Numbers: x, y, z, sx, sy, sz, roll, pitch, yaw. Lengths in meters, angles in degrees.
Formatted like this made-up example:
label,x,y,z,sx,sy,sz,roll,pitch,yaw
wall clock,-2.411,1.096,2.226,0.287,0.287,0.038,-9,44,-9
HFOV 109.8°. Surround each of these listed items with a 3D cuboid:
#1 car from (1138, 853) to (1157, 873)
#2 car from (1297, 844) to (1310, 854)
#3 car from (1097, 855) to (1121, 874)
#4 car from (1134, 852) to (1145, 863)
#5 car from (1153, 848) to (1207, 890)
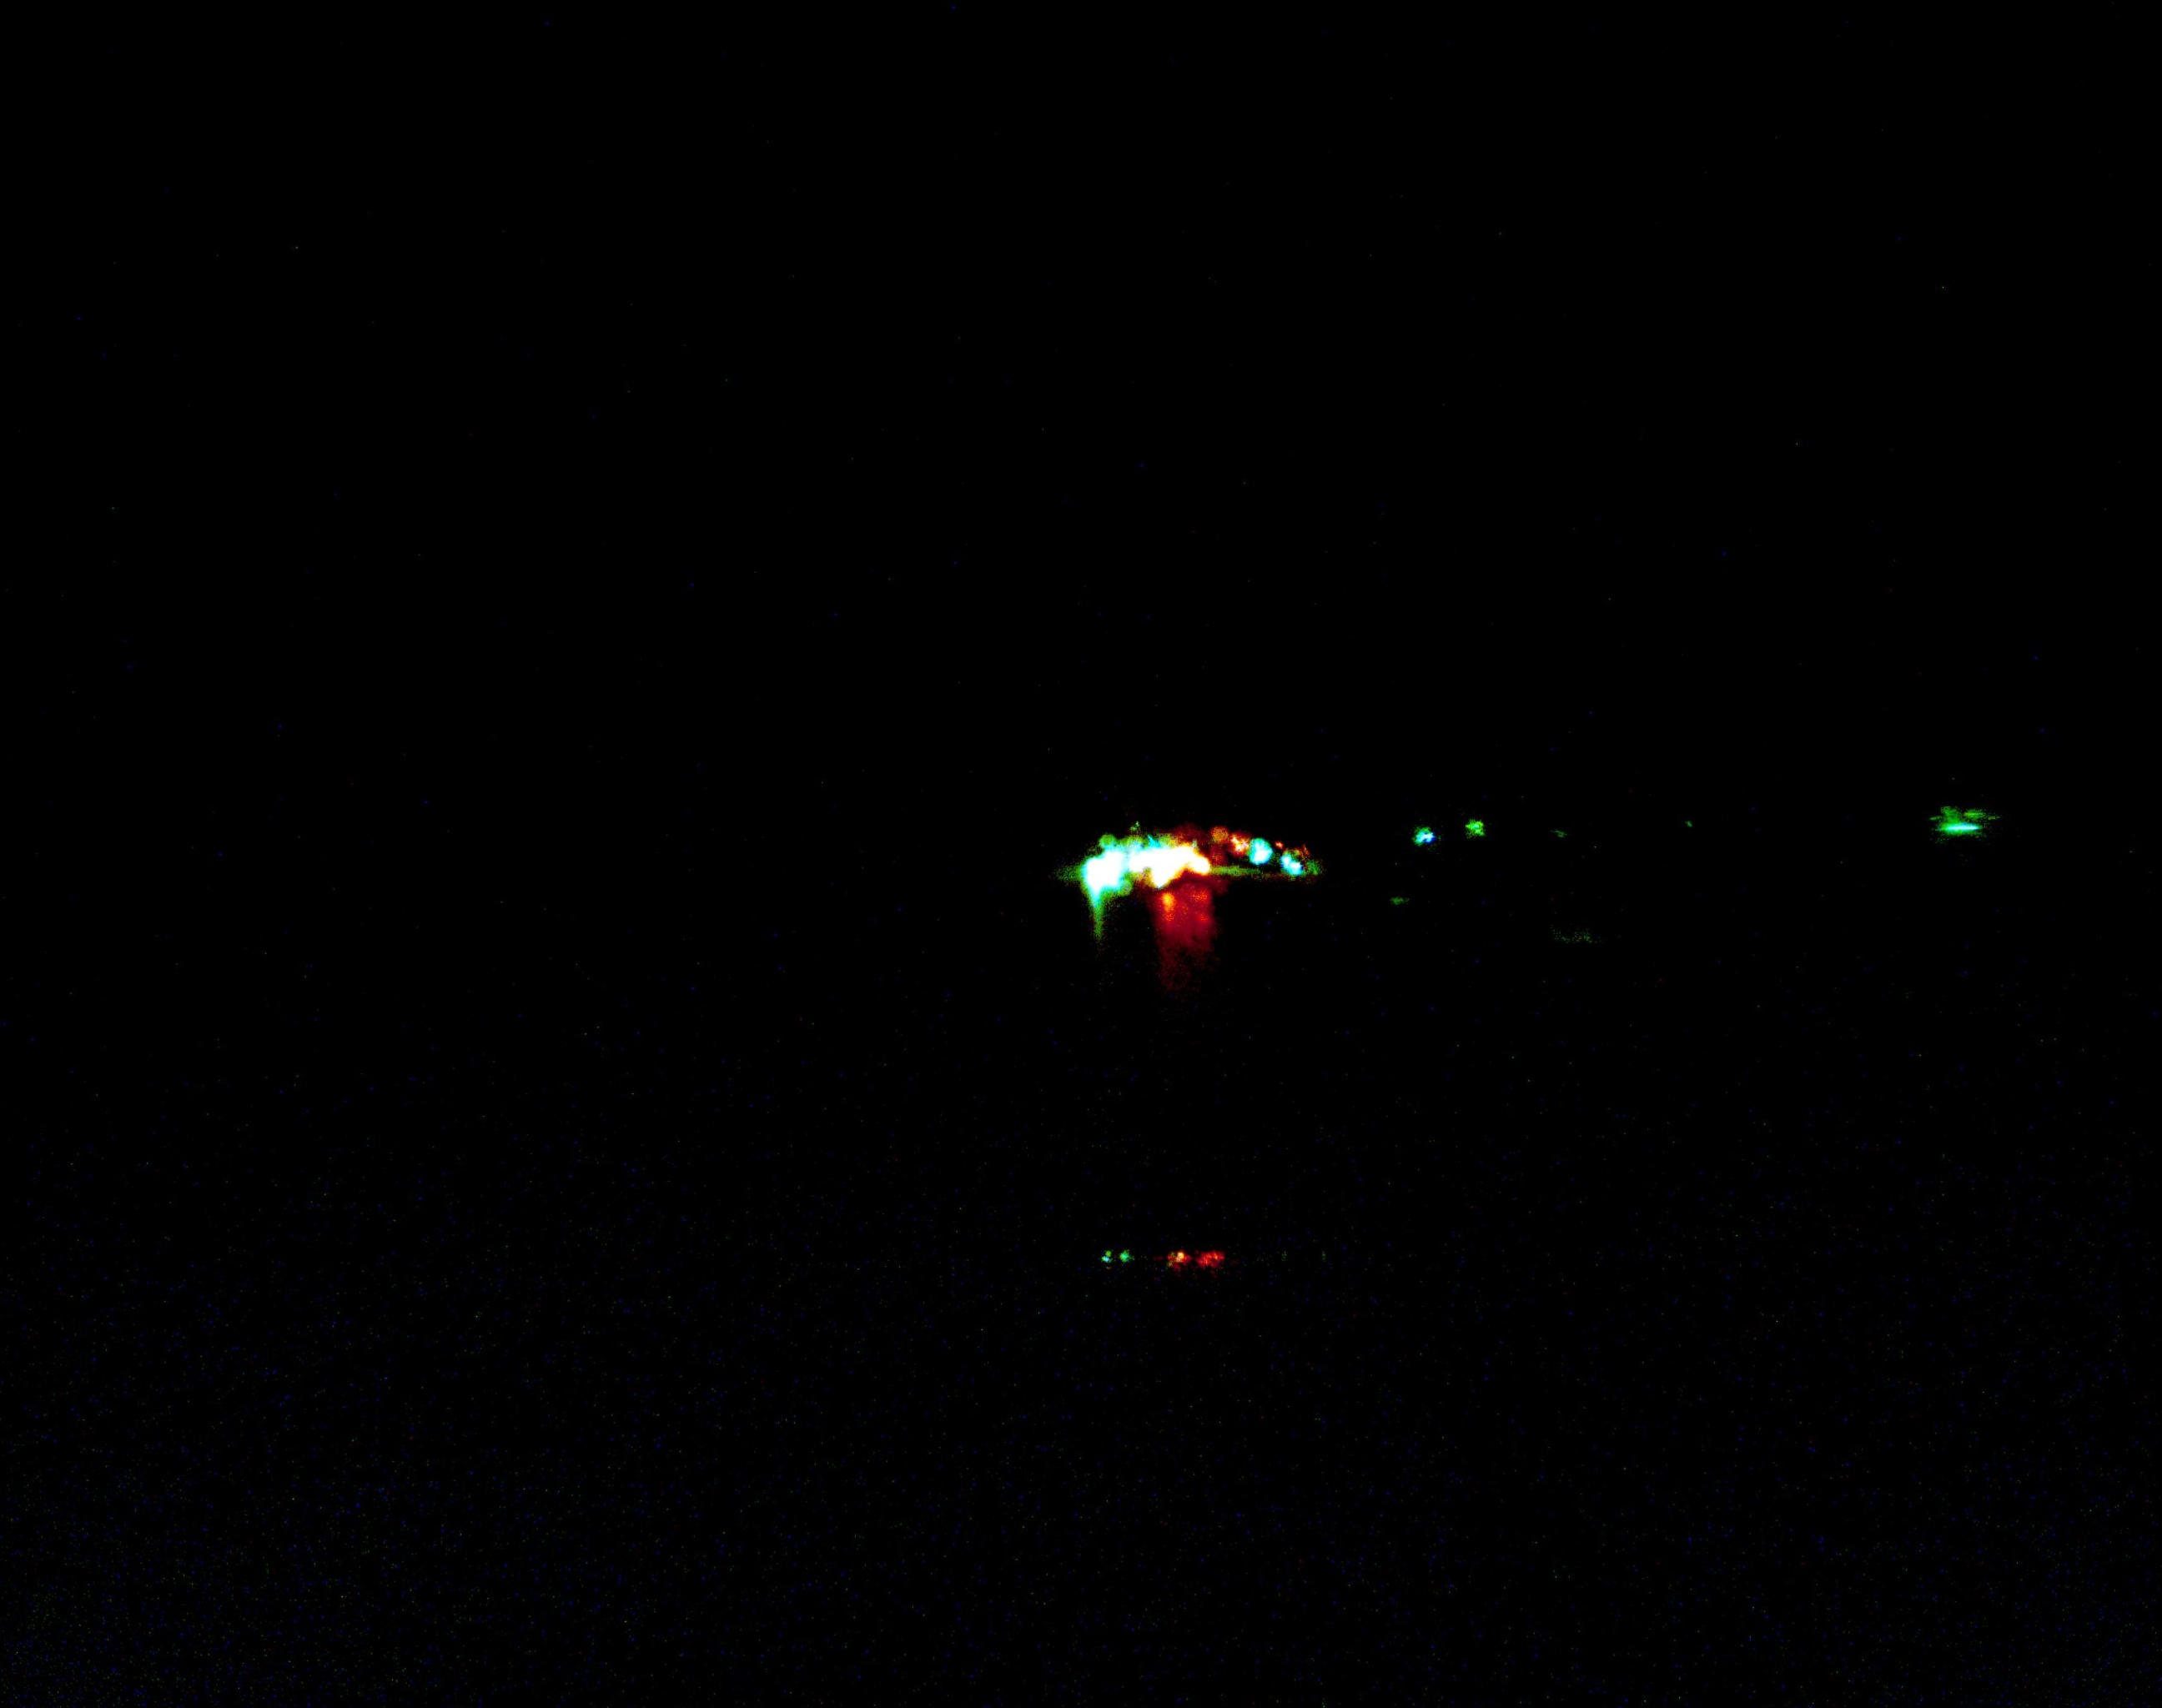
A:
label,x,y,z,sx,sy,sz,roll,pitch,yaw
car,6.013,0.791,68.604,1.487,1.606,3.561,-4,0,3
car,51.900,-1.229,177.309,1.997,2.294,6.025,-2,0,7
car,2.652,0.936,71.292,1.877,1.578,4.890,-3,1,6
car,9.116,0.555,118.784,1.658,1.673,4.521,-2,0,4
car,4.406,0.649,34.311,1.931,1.693,4.000,-2,0,1
